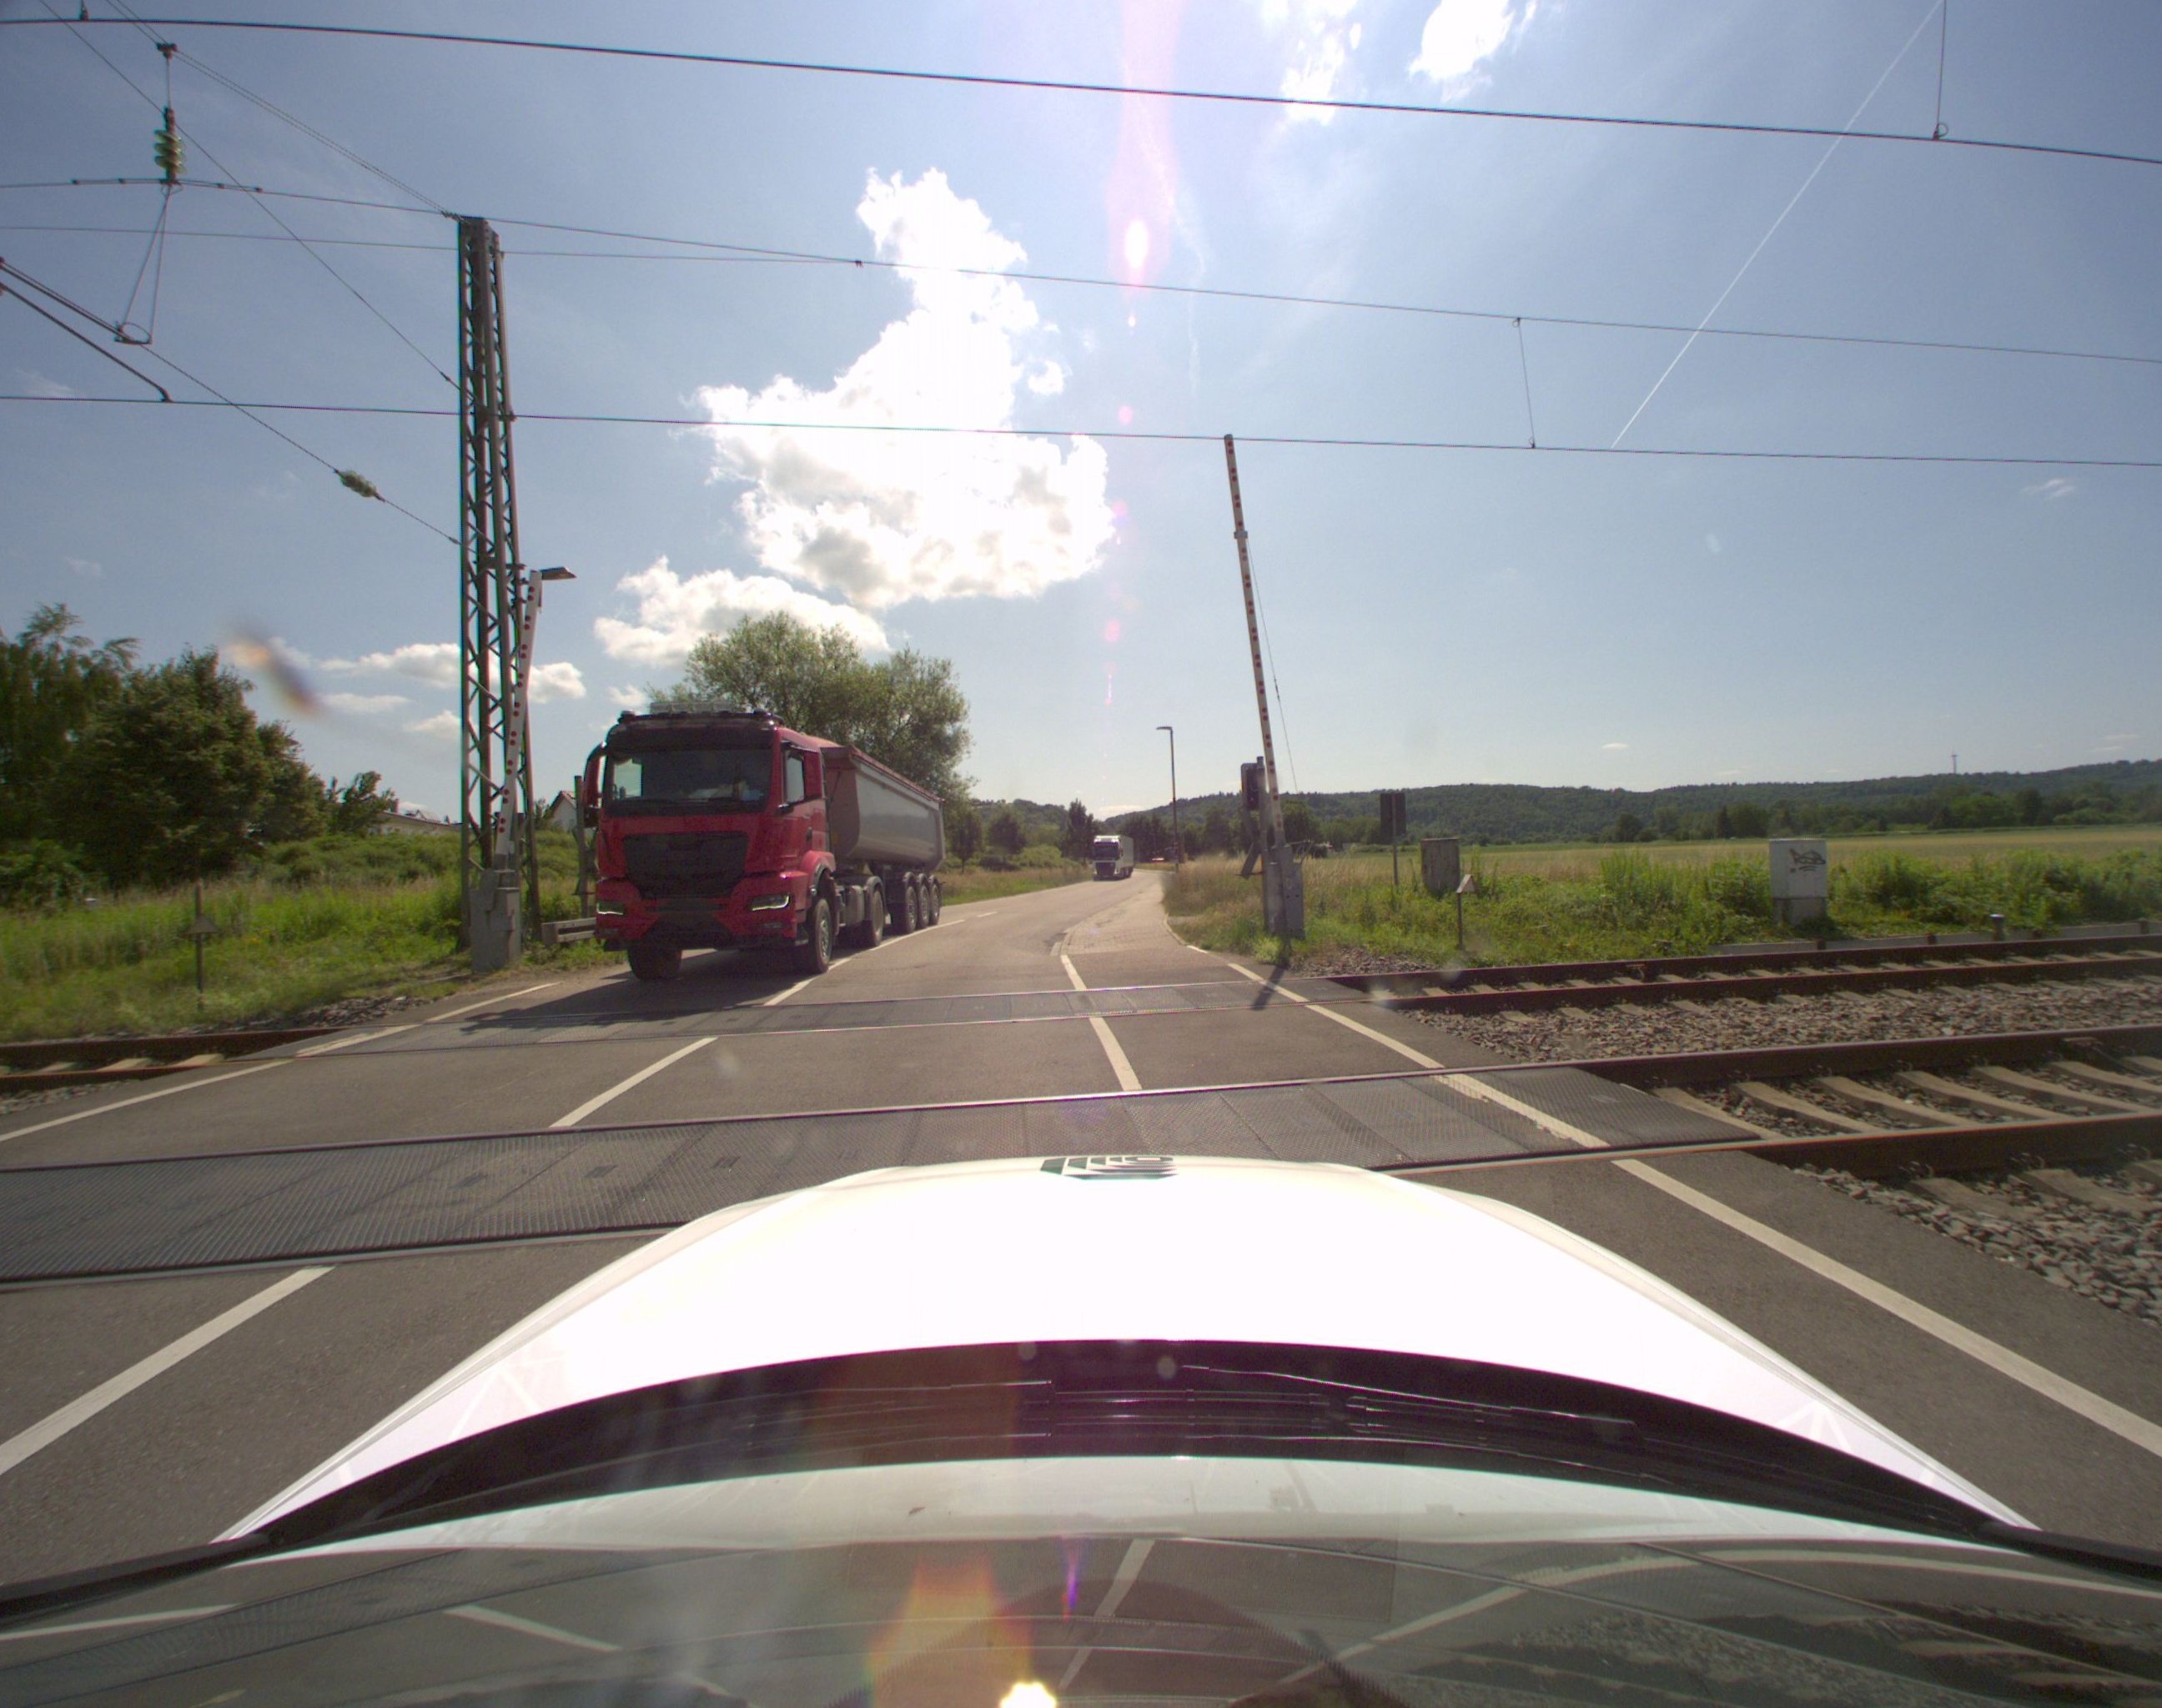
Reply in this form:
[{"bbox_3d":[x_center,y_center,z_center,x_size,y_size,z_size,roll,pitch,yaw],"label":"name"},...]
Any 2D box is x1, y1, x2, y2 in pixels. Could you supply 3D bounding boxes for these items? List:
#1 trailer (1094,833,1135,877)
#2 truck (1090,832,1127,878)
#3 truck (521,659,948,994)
[{"bbox_3d":[3.437,0.121,80.073,2.569,3.948,13.087,-2,-1,8],"label":"trailer"},{"bbox_3d":[2.531,0.097,73.535,2.556,3.948,6.052,-2,-1,8],"label":"truck"},{"bbox_3d":[-4.928,-0.269,15.339,2.863,3.745,12.144,-1,-1,-1],"label":"truck"}]
